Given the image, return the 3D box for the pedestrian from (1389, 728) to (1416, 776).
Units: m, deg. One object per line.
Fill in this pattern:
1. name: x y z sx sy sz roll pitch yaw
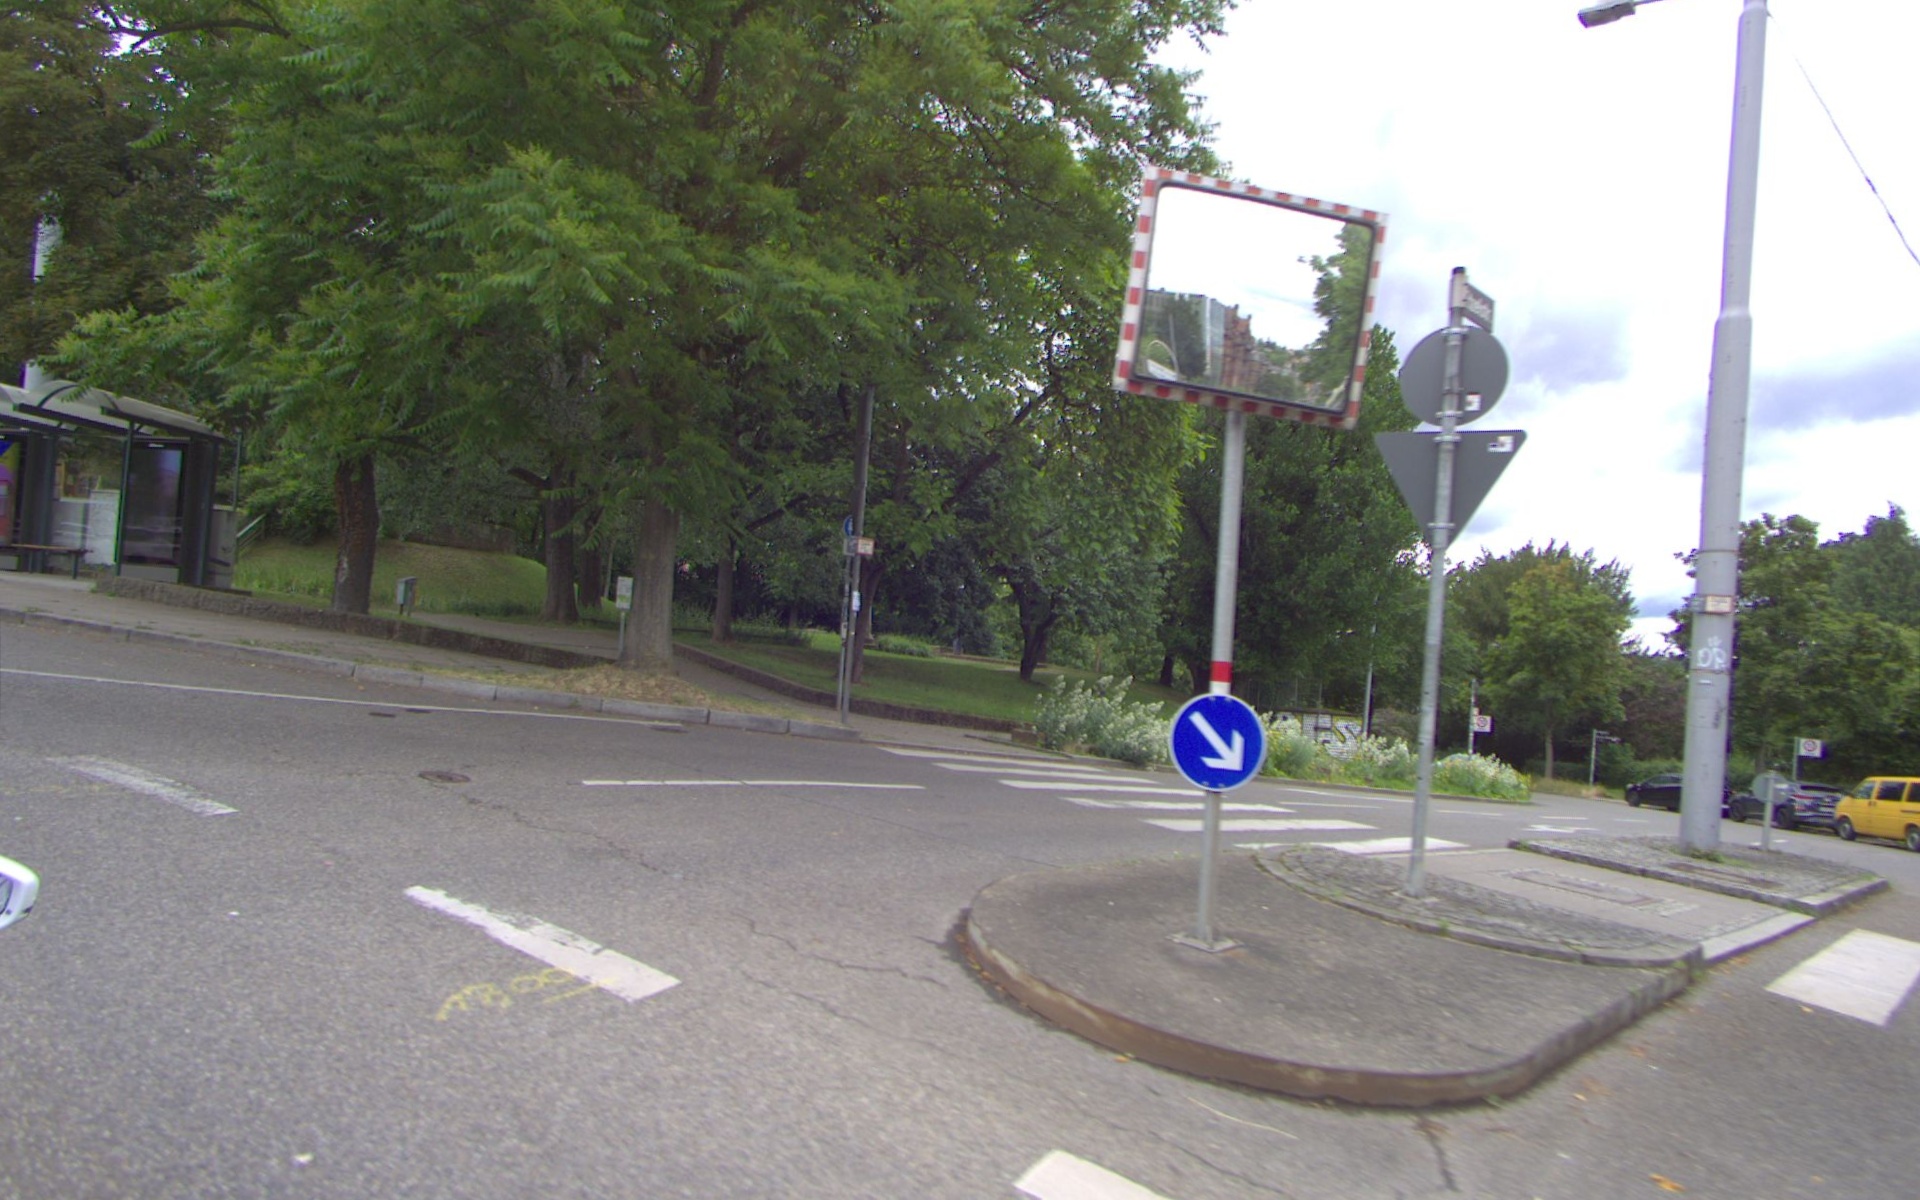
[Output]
1. pedestrian: 16.612 5.691 37.759 0.659 1.668 0.668 7 0 31

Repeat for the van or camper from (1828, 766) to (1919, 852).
1. van or camper: 25.431 5.602 26.616 1.854 1.997 4.483 5 -5 14

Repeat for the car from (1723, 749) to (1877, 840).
1. car: 26.809 6.144 32.287 1.962 2.038 4.003 7 -1 12

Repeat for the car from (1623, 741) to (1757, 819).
1. car: 27.393 6.705 37.928 1.963 2.038 4.001 7 -1 1
